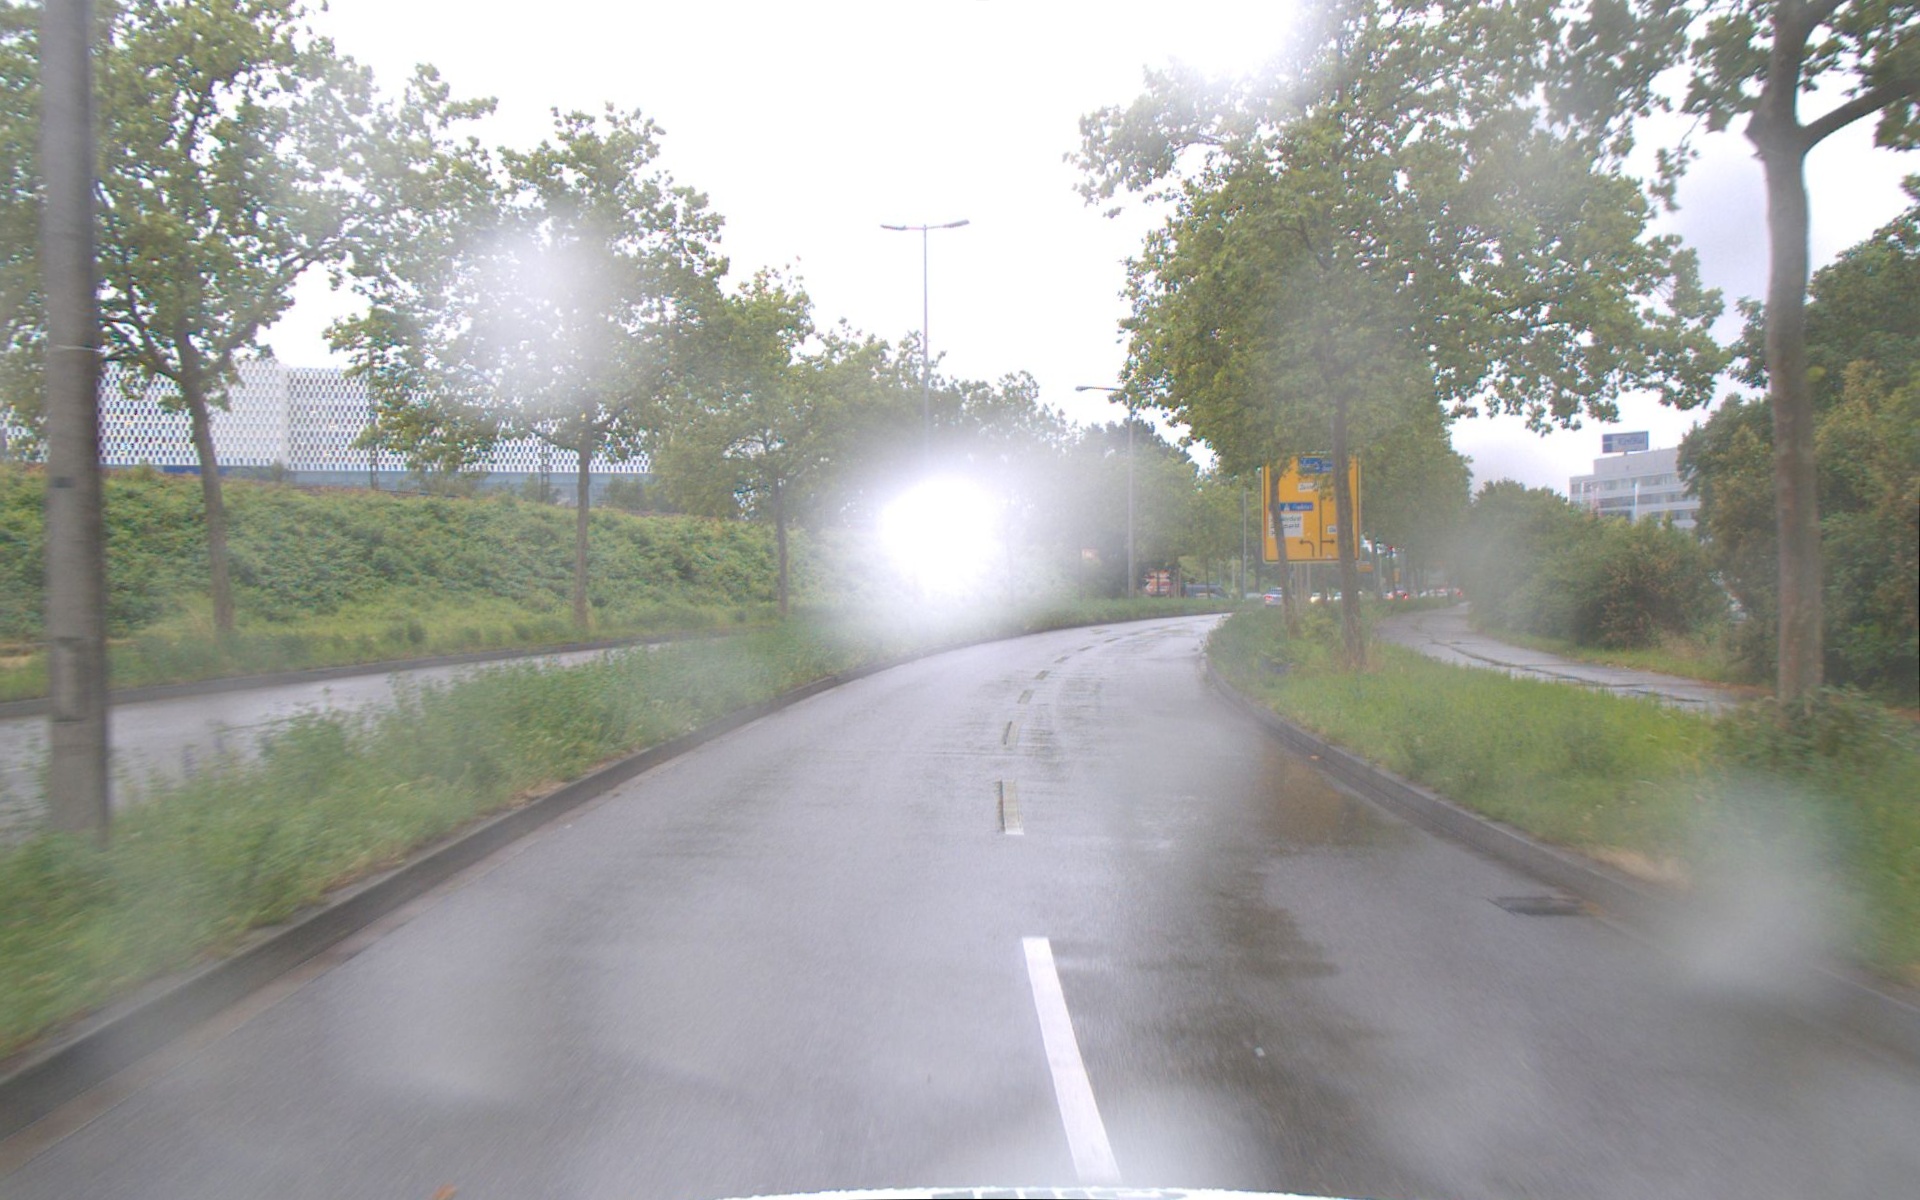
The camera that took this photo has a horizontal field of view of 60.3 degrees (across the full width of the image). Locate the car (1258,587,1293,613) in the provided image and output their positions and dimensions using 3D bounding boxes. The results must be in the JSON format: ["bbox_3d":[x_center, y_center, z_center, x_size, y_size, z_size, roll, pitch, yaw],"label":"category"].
[{"bbox_3d":[19.588,-0.011,102.530,1.742,1.583,4.003,1,1,16],"label":"car"}]
